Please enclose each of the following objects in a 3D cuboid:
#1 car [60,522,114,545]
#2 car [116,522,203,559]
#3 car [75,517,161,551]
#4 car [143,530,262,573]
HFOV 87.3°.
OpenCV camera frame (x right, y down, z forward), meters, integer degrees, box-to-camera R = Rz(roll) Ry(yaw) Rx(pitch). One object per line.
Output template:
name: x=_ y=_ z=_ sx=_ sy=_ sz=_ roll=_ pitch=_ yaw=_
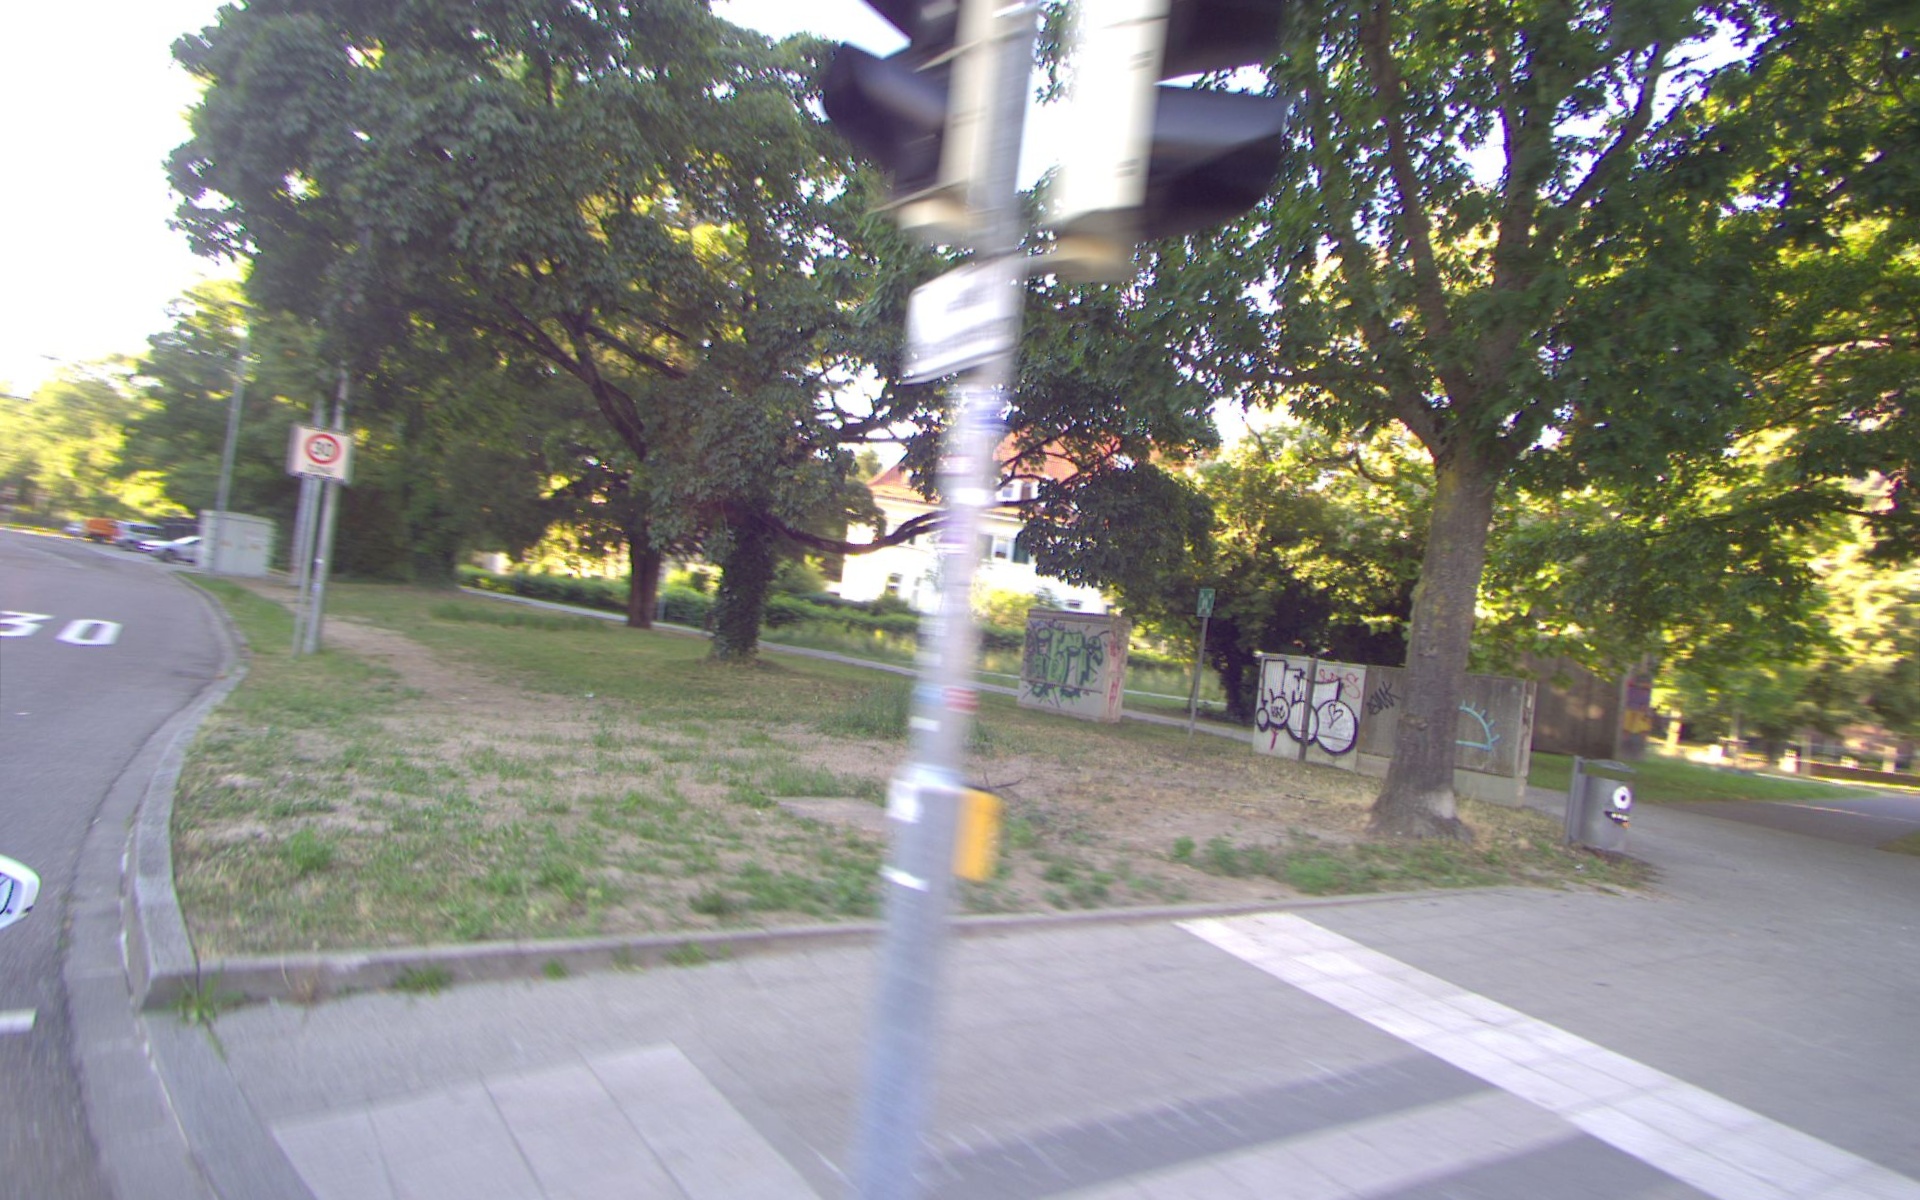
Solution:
car: x=-74.057 y=-5.631 z=85.366 sx=1.518 sy=1.521 sz=3.141 roll=6 pitch=-1 yaw=39
car: x=-52.352 y=-3.871 z=65.856 sx=4.215 sy=1.882 sz=1.976 roll=7 pitch=-2 yaw=-44
car: x=-65.998 y=-5.153 z=78.916 sx=1.776 sy=2.038 sz=4.814 roll=6 pitch=-1 yaw=39
car: x=-37.420 y=-2.371 z=49.752 sx=1.760 sy=1.486 sz=4.430 roll=5 pitch=-2 yaw=45
